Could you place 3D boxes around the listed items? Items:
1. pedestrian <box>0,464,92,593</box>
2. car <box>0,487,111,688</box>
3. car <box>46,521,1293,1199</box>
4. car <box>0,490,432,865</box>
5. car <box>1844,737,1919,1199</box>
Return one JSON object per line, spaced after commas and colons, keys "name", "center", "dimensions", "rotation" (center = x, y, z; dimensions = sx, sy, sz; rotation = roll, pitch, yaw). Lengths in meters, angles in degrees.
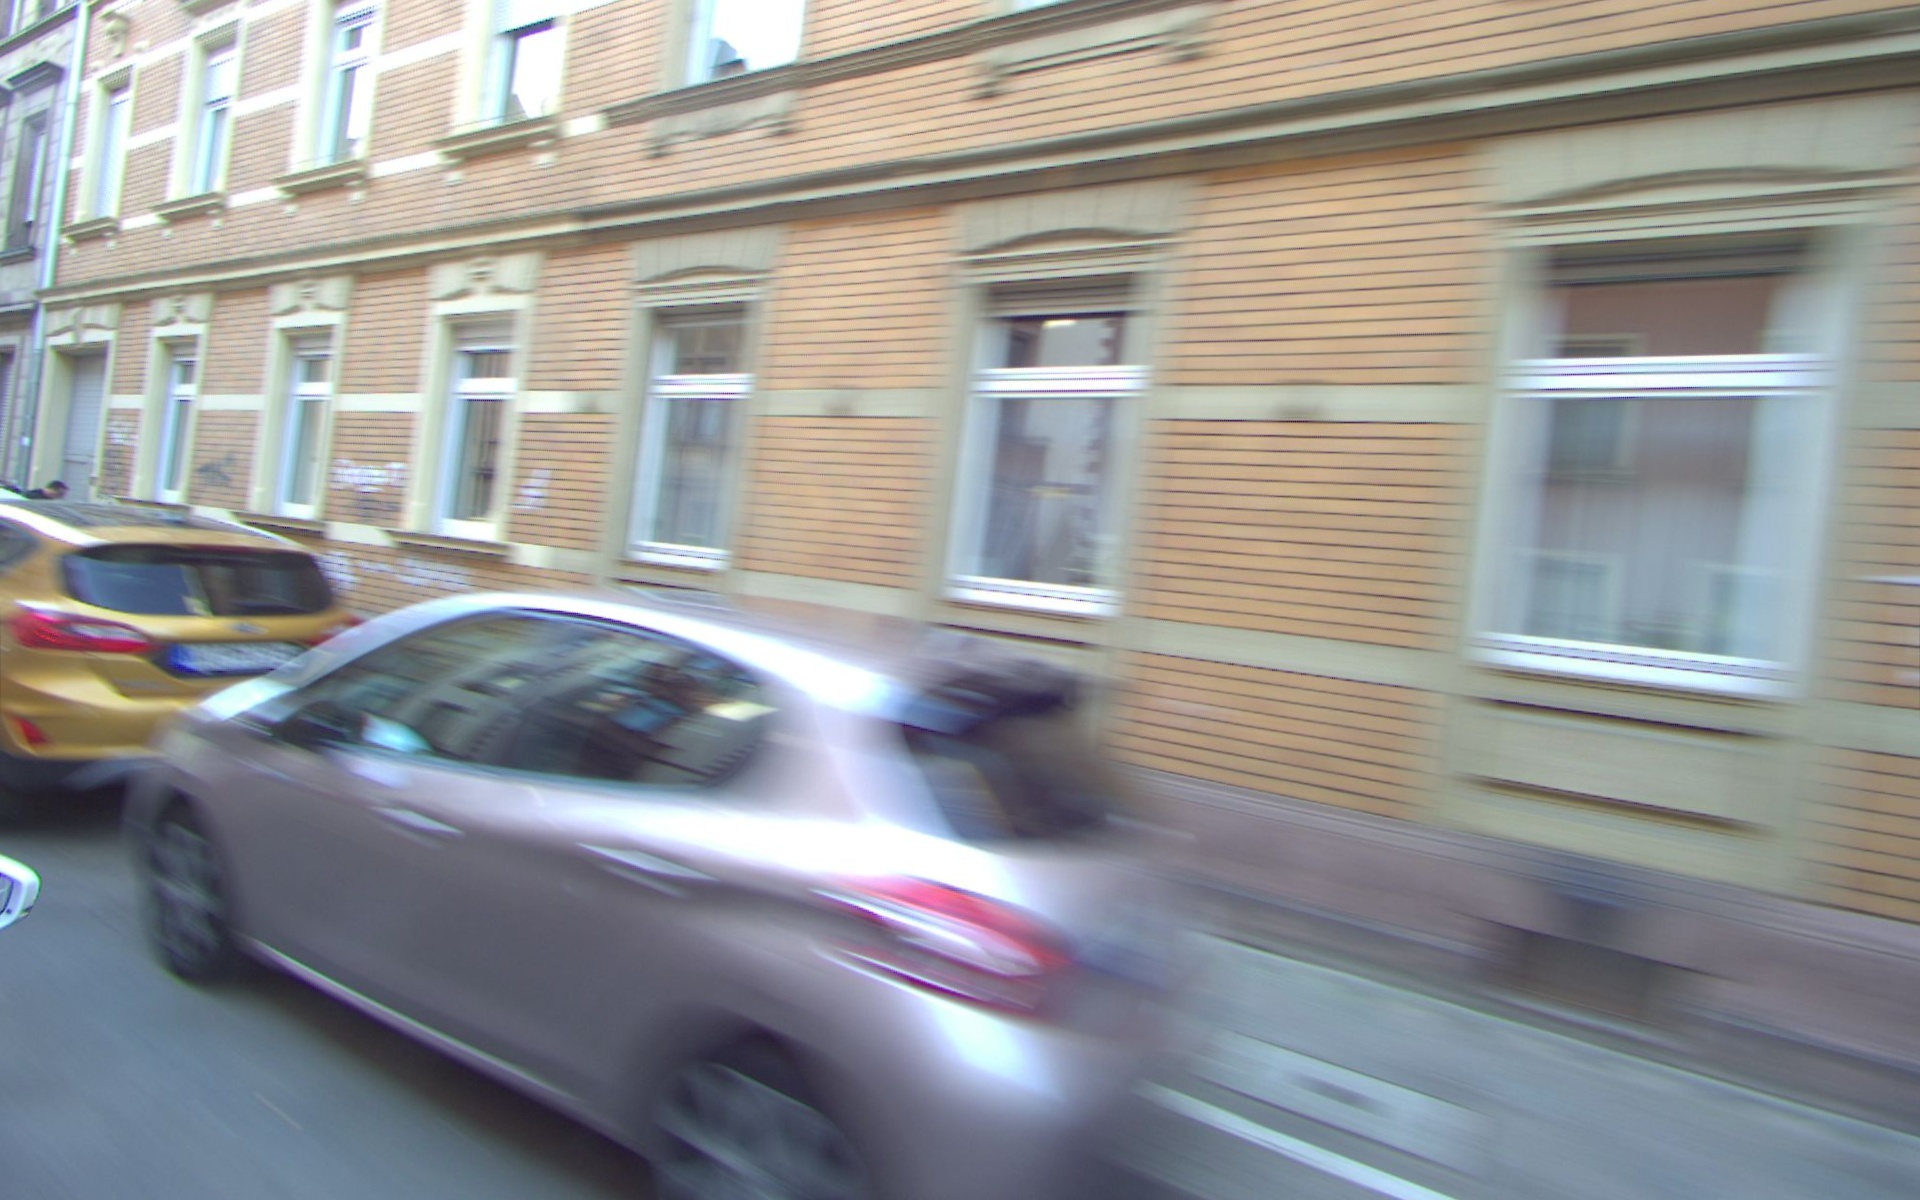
{"name": "pedestrian", "center": [-12.592, -0.964, 13.691], "dimensions": [0.865, 1.651, 0.654], "rotation": [5, 1, -11]}
{"name": "car", "center": [-9.139, -0.279, 8.545], "dimensions": [4.014, 1.501, 1.720], "rotation": [7, 3, 31]}
{"name": "car", "center": [-1.177, 0.649, 3.442], "dimensions": [4.024, 1.437, 1.725], "rotation": [7, 4, 30]}
{"name": "car", "center": [-5.116, 0.161, 5.788], "dimensions": [4.000, 1.465, 1.754], "rotation": [7, 3, 30]}
{"name": "car", "center": [3.444, 1.172, 0.461], "dimensions": [4.245, 1.413, 1.780], "rotation": [7, -1, 32]}
